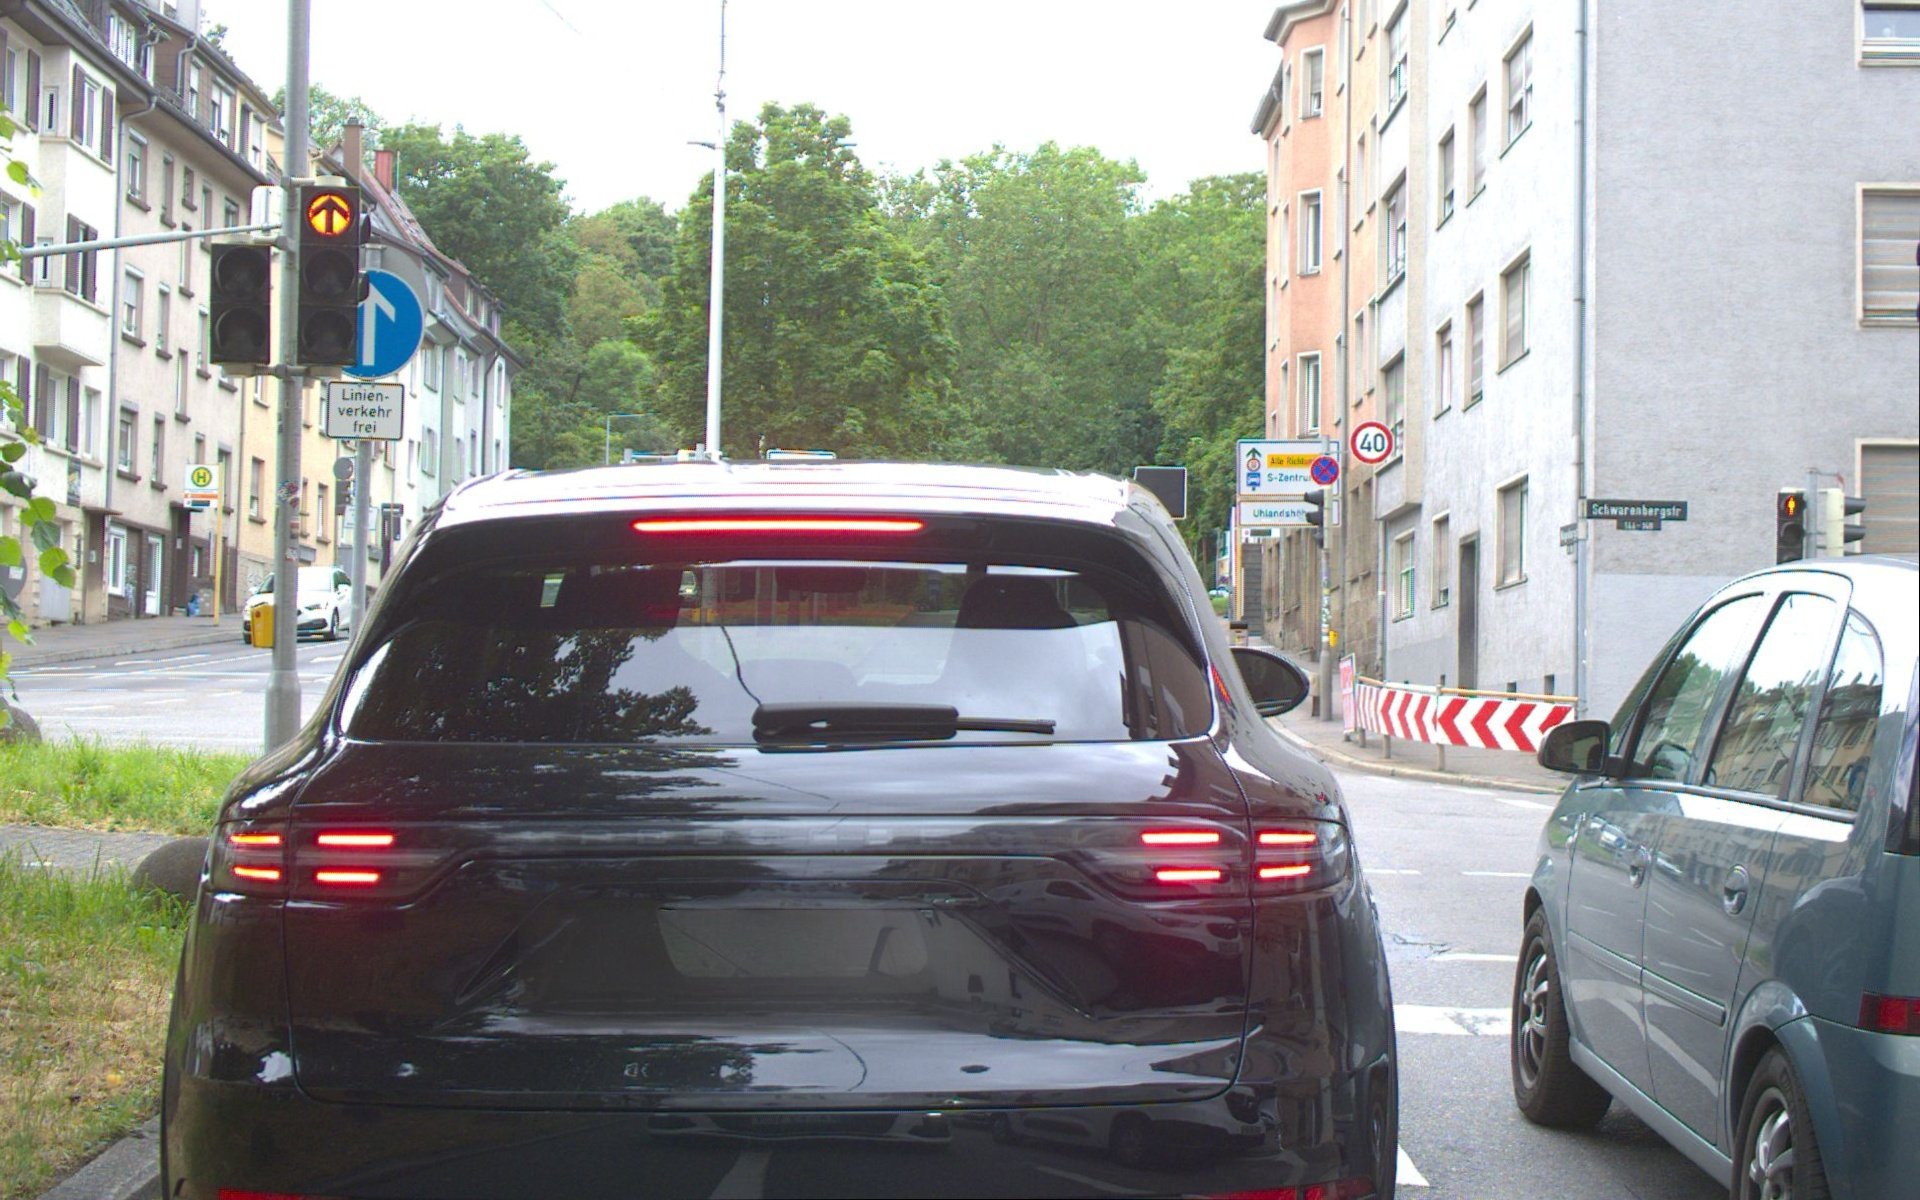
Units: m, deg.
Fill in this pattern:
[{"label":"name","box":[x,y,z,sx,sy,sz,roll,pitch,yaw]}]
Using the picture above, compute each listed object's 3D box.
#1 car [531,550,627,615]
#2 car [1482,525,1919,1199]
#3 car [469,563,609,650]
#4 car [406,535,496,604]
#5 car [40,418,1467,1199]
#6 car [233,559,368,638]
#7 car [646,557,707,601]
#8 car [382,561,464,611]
[{"label":"car","box":[-9.760,-0.466,88.391,1.974,1.605,4.558,1,1,0]},{"label":"car","box":[2.359,0.697,7.875,1.628,1.592,3.669,4,1,-1]},{"label":"car","box":[-7.073,0.086,58.154,1.862,1.383,4.094,1,1,0]},{"label":"car","box":[-15.469,-0.932,104.689,2.016,2.038,4.667,1,1,0]},{"label":"car","box":[-0.306,0.566,6.721,1.955,1.669,4.000,0,1,-1]},{"label":"car","box":[-12.946,-0.043,67.726,1.844,1.481,3.898,1,1,1]},{"label":"car","box":[-9.867,-0.717,119.928,1.619,1.475,3.823,1,-1,3]},{"label":"car","box":[-15.424,-0.417,98.856,1.739,1.382,3.814,1,1,0]}]
